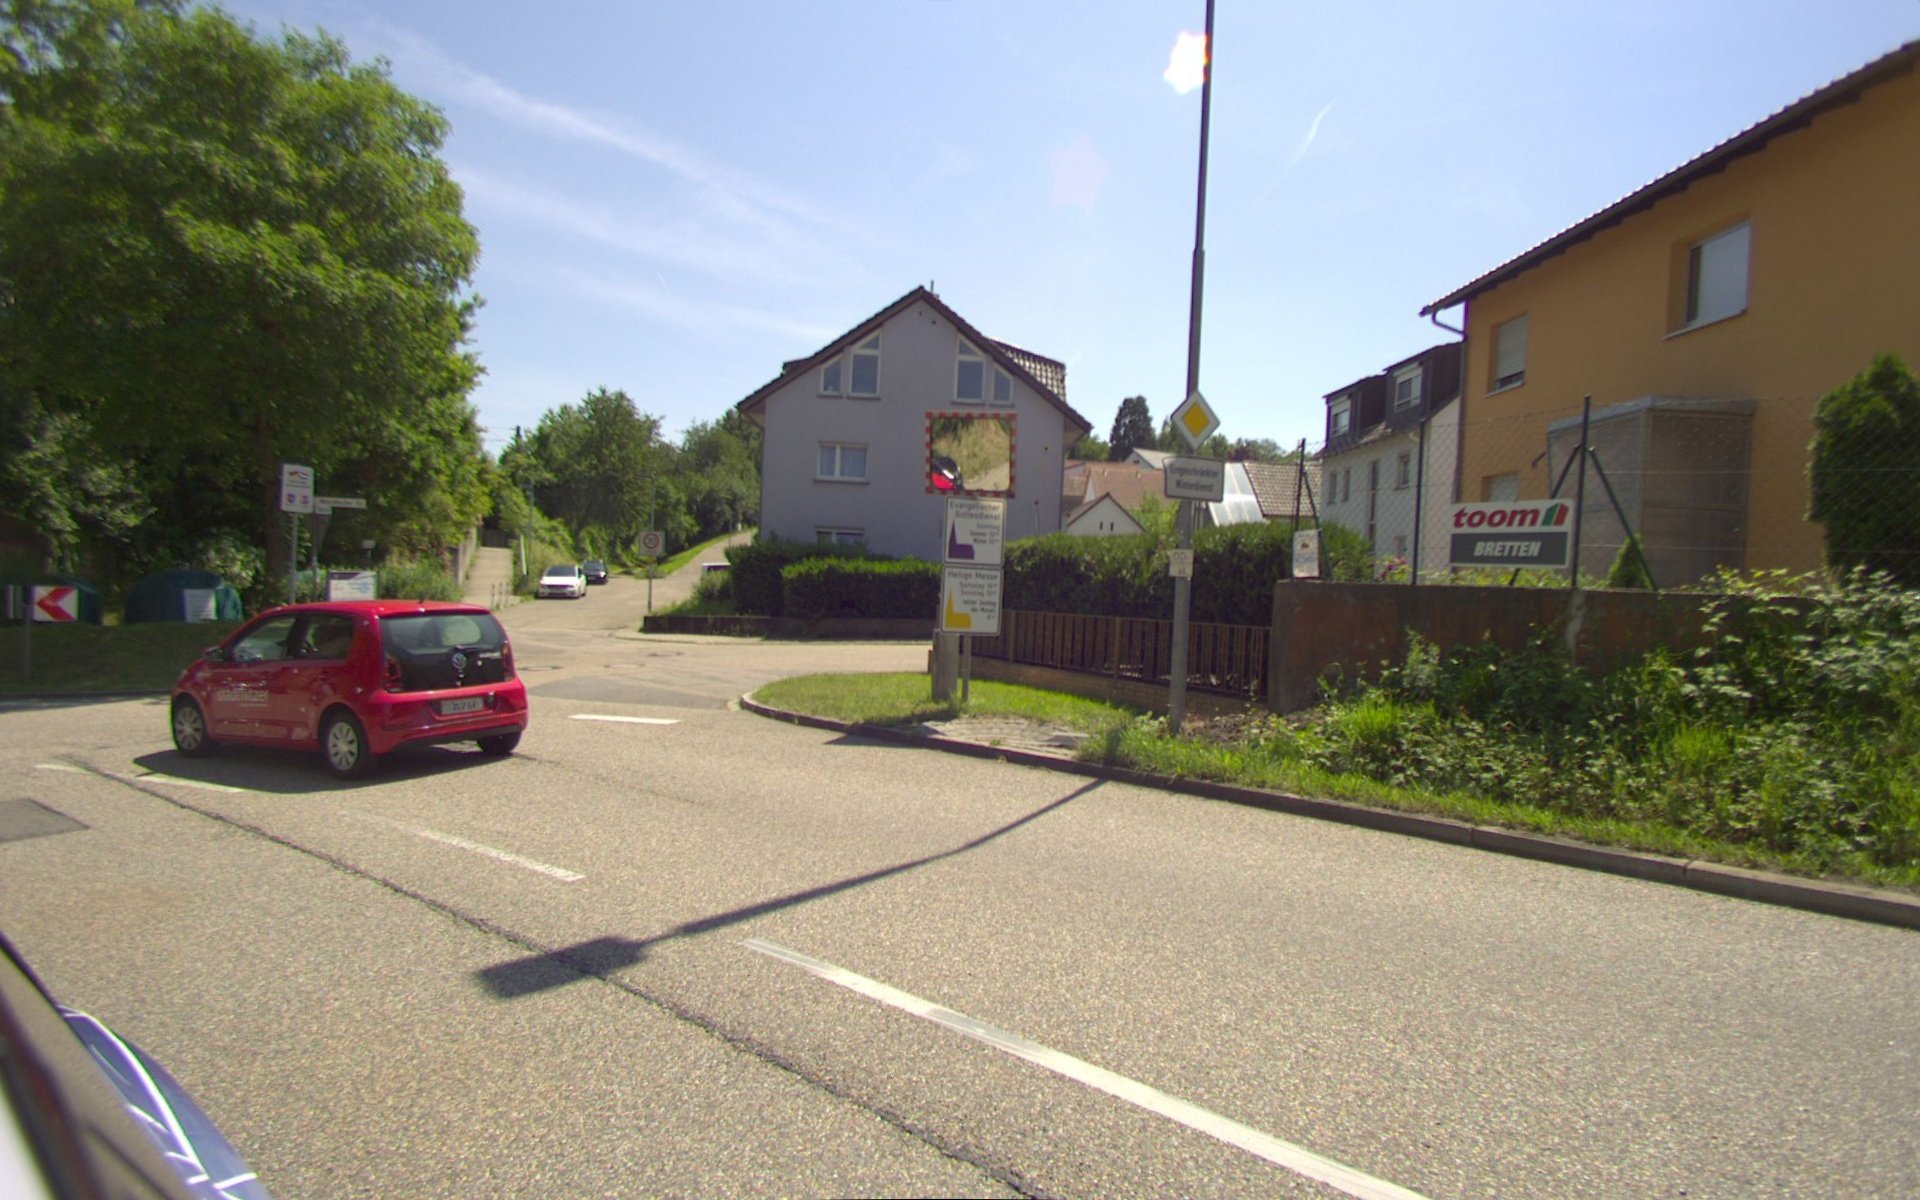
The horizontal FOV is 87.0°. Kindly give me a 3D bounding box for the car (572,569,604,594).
[{"bbox_3d":[-23.585,-1.185,64.085,1.720,1.399,4.014,0,3,-23],"label":"car"}]

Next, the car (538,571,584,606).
[{"bbox_3d":[-19.018,-0.567,48.251,1.965,1.518,4.014,0,3,-21],"label":"car"}]

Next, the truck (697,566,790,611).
[{"bbox_3d":[-10.643,-0.555,49.971,4.248,2.029,2.003,-2,1,-7],"label":"truck"}]

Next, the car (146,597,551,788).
[{"bbox_3d":[-5.767,0.729,9.505,3.619,1.469,1.645,0,1,28],"label":"car"}]
